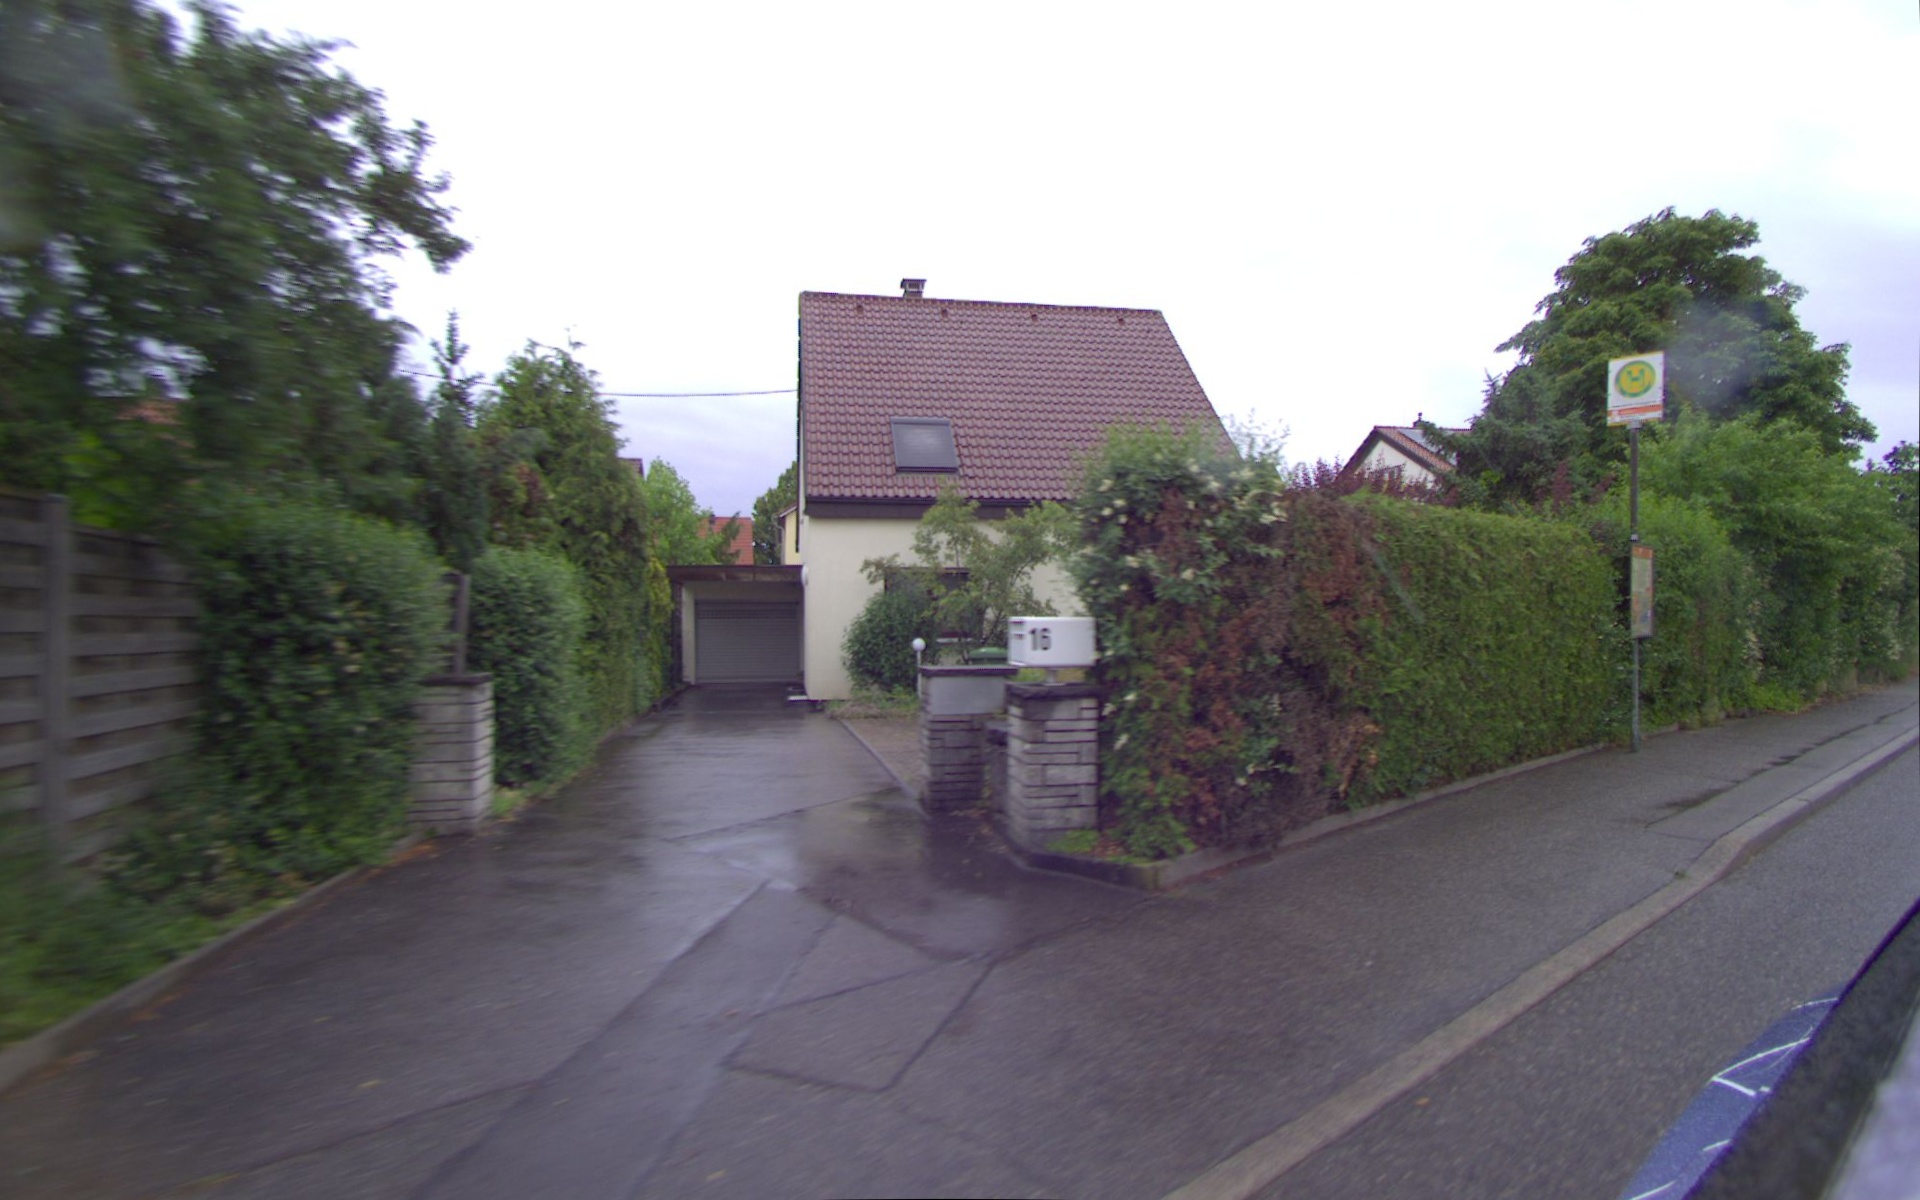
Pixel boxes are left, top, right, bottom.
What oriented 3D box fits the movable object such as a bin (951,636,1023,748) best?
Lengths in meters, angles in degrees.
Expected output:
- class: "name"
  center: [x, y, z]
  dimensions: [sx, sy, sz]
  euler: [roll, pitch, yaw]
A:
- class: "movable object such as a bin"
  center: [0.372, 1.277, 14.446]
  dimensions: [0.790, 1.487, 1.020]
  euler: [0, 0, -13]
